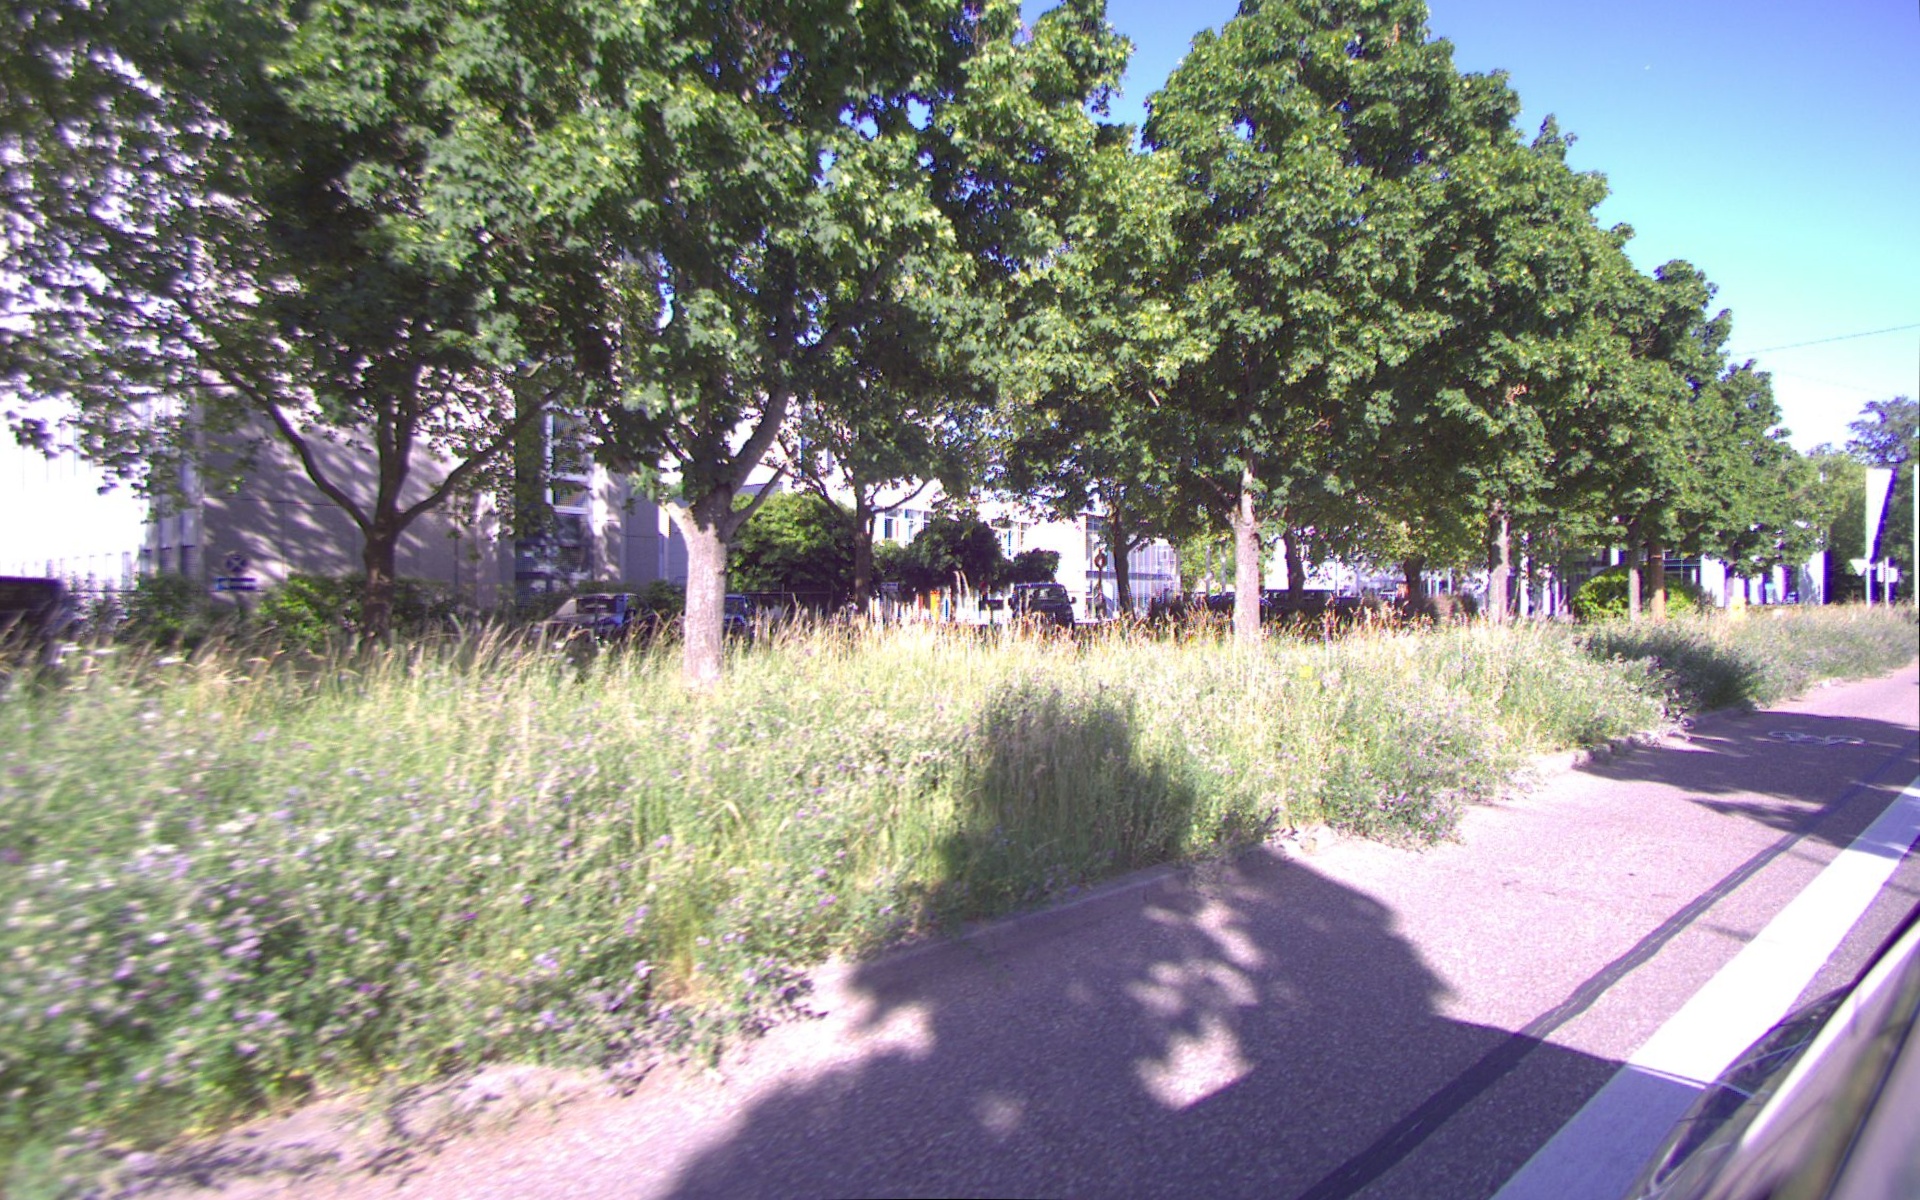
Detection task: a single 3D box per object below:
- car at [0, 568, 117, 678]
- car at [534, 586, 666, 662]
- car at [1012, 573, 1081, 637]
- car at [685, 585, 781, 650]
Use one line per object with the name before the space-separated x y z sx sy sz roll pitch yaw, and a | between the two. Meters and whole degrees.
car | -16.488 0.380 15.740 1.885 1.774 5.447 -1 0 6
car | -8.089 0.484 23.151 1.810 1.534 4.554 -1 0 -6
car | 2.785 0.152 33.143 2.042 1.900 5.181 -1 0 4
car | -5.563 0.398 25.316 1.810 1.466 4.554 -1 0 -6
